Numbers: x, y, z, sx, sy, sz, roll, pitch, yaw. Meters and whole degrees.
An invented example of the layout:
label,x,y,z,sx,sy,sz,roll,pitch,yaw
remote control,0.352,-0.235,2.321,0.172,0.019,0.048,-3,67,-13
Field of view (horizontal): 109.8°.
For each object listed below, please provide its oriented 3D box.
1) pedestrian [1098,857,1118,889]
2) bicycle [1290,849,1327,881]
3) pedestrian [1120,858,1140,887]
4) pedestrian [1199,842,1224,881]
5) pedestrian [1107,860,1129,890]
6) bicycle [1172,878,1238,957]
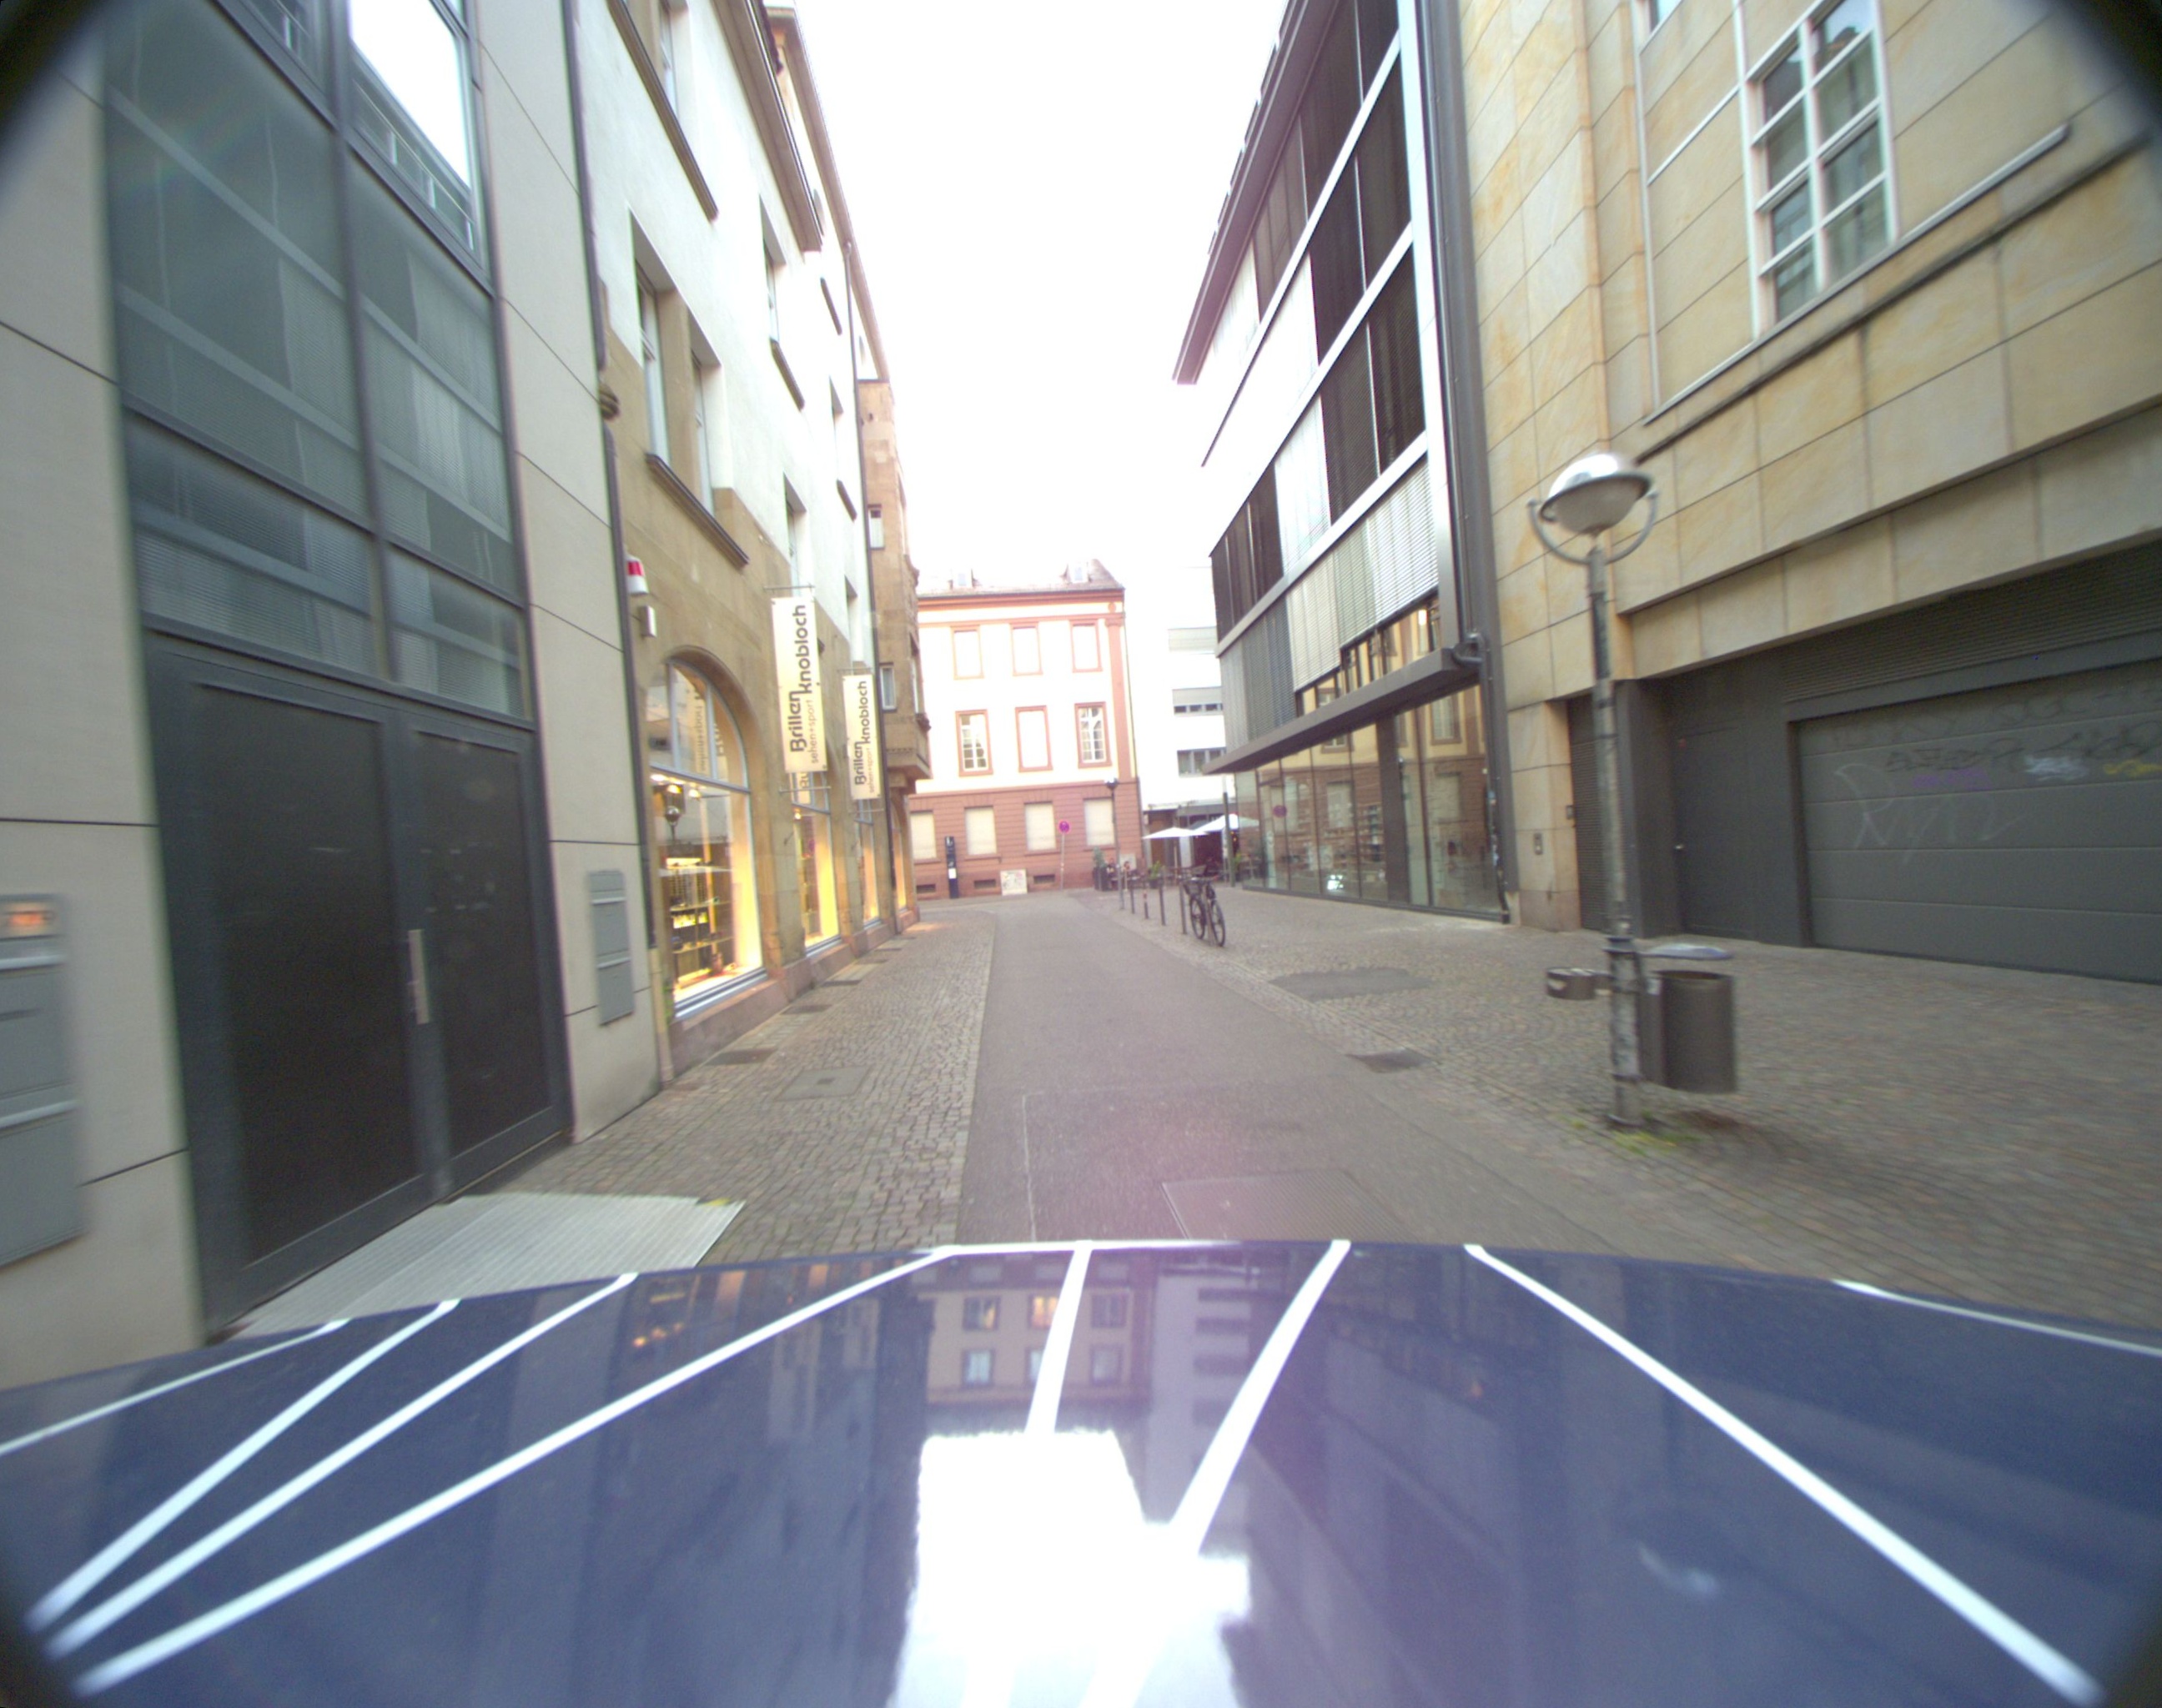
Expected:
label,x,y,z,sx,sy,sz,roll,pitch,yaw
pedestrian,1.201,0.842,33.428,0.673,1.324,0.792,-4,2,-7
bicycle,8.305,0.428,27.826,0.467,1.114,2.016,-4,-2,-6
pedestrian,2.131,0.799,33.087,0.673,1.177,0.792,-4,2,-7
pedestrian,5.784,0.326,33.633,0.725,1.639,0.792,-5,1,-11
pedestrian,1.538,0.875,31.983,0.674,1.177,0.792,-4,2,-11
bicycle,1.991,0.992,12.454,0.411,1.126,1.929,-5,1,-9
